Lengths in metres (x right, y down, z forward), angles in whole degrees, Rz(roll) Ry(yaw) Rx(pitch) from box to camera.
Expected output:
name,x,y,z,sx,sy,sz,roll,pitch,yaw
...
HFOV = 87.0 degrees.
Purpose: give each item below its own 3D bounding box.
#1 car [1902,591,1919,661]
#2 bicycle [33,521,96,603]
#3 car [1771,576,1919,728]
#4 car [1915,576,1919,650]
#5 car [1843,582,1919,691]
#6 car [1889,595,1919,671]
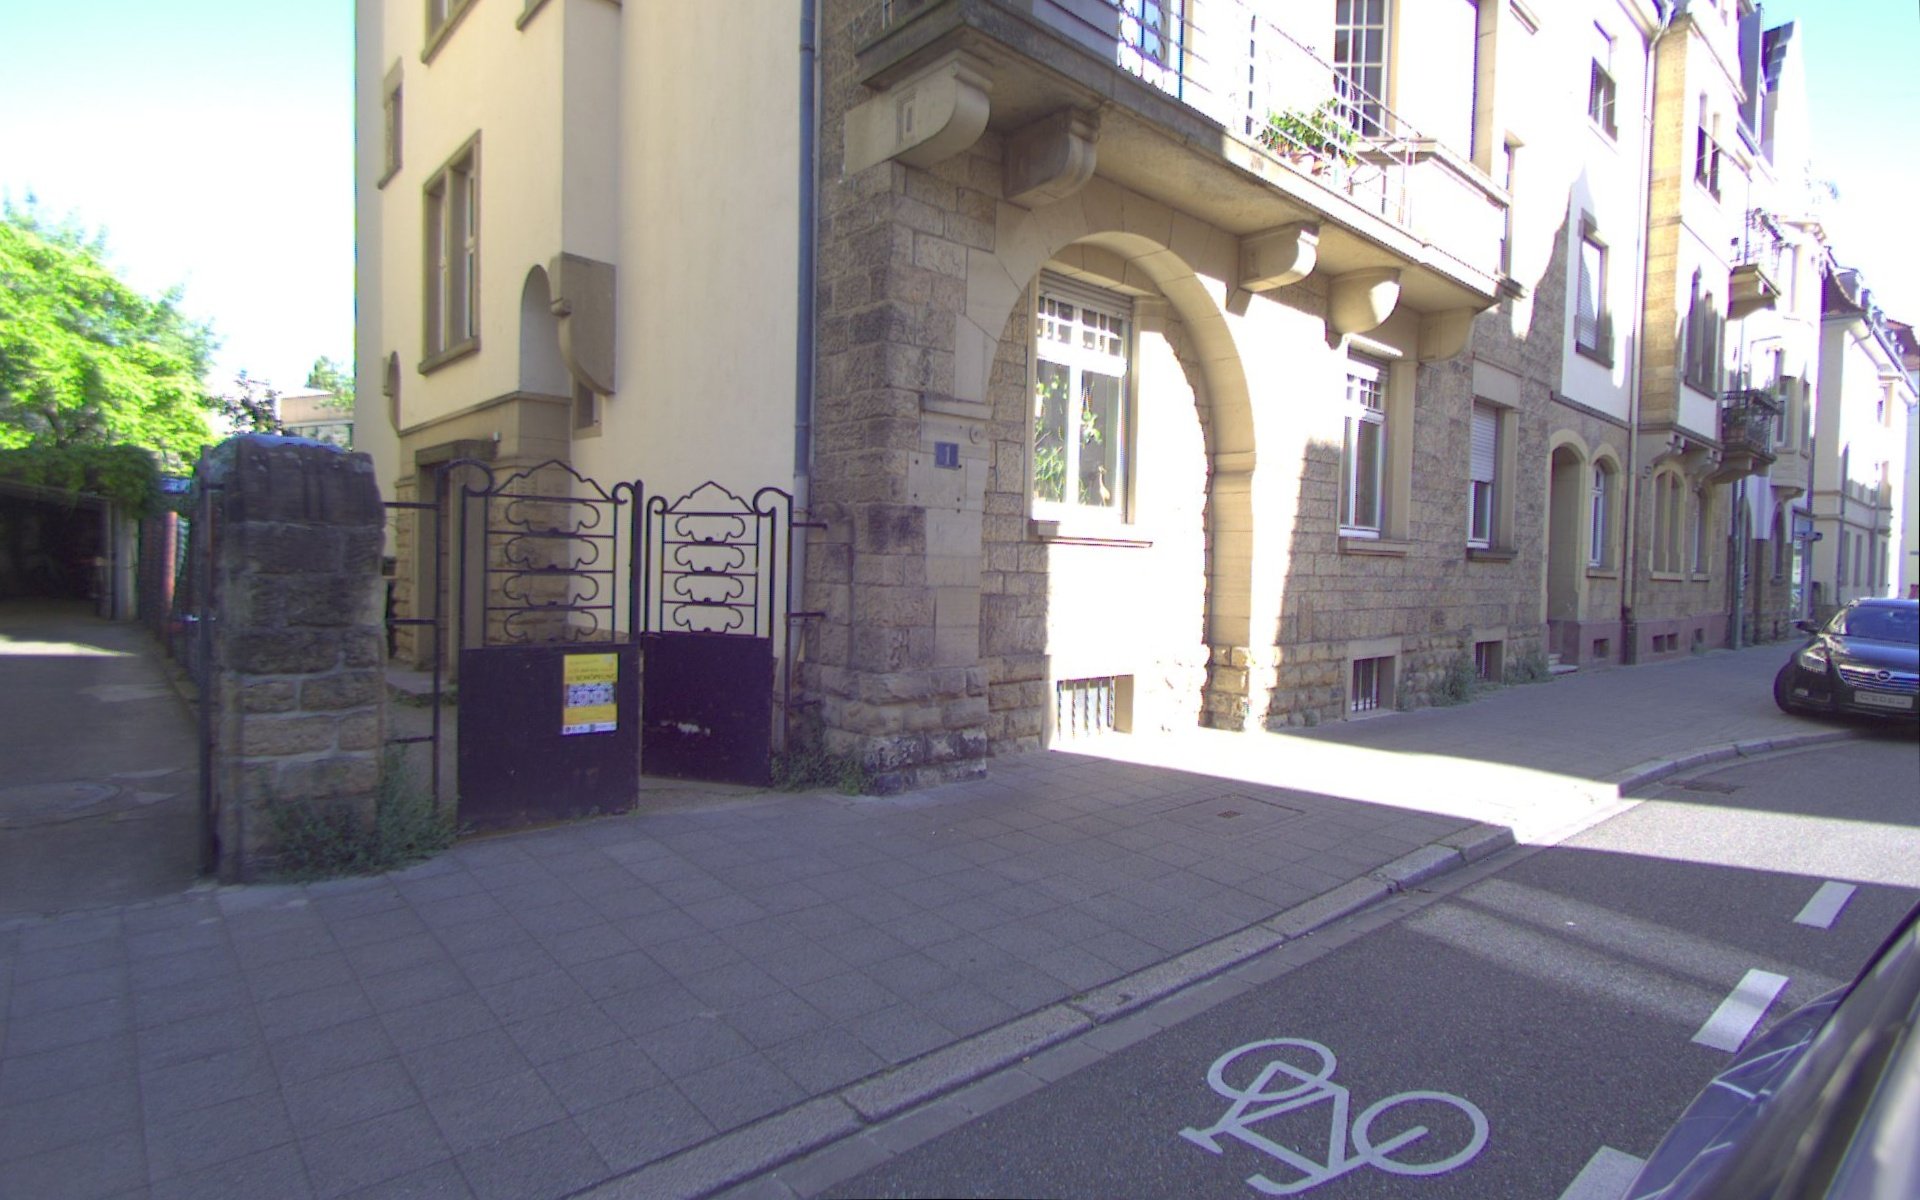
name,x,y,z,sx,sy,sz,roll,pitch,yaw
car,22.169,0.581,22.192,4.247,1.440,1.823,-1,4,-42
bicycle,-18.304,-0.812,20.726,0.903,1.530,2.672,0,4,-41
car,11.504,0.546,12.185,4.043,1.526,2.023,-1,5,-42
car,26.232,0.336,26.049,4.247,1.860,2.004,-1,4,-42
car,15.529,0.565,15.866,4.247,1.527,2.004,0,3,-42
car,18.792,0.618,18.971,3.667,1.295,1.659,-1,4,-42
